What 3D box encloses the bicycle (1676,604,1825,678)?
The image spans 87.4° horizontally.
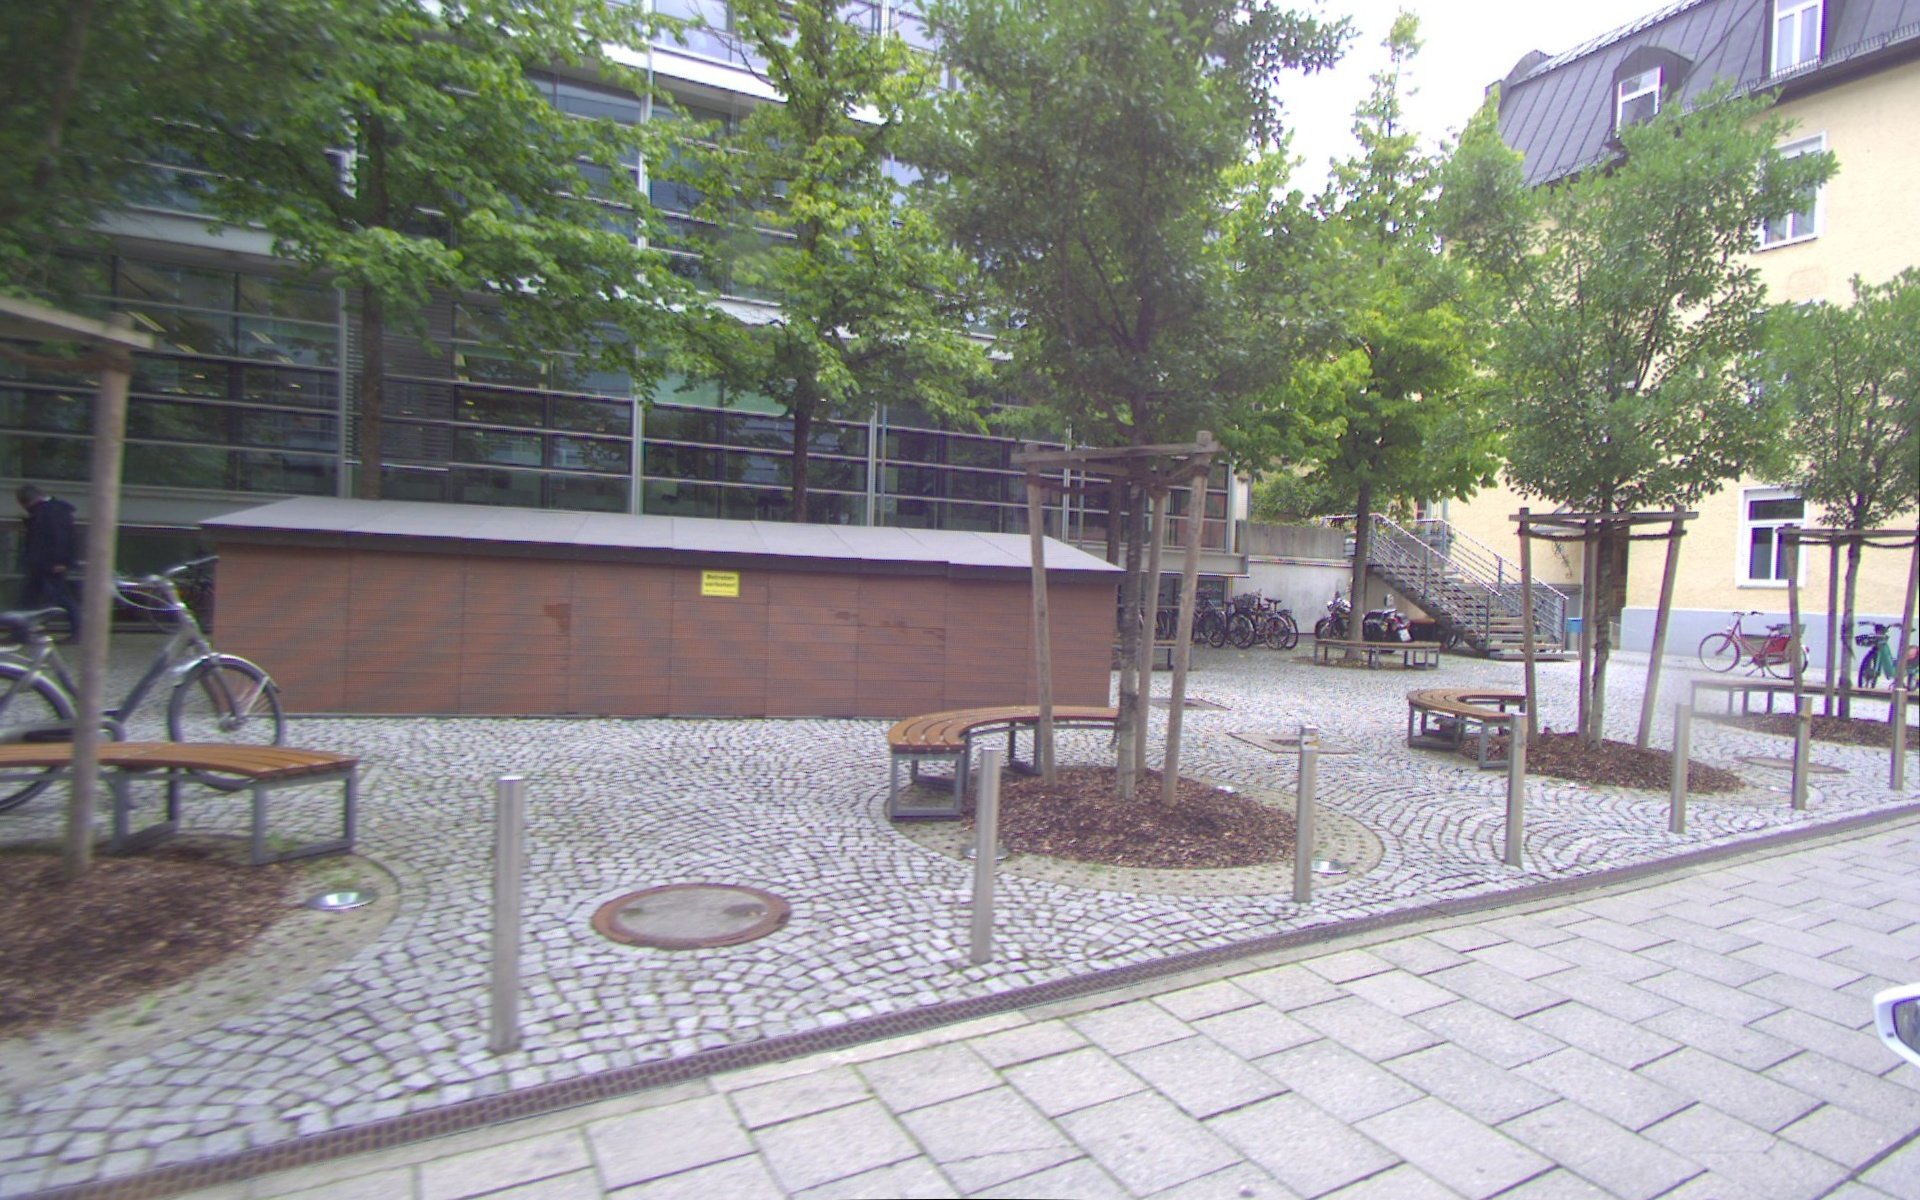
[{"bbox_3d":[14.344,0.720,18.290,0.737,1.188,1.968,2,2,-25],"label":"bicycle"}]

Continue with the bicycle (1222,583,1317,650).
[{"bbox_3d":[6.114,0.298,19.953,0.688,1.220,1.891,1,2,-25],"label":"bicycle"}]

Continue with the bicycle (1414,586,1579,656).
[{"bbox_3d":[11.471,0.414,21.666,0.757,1.268,3.209,1,3,-29],"label":"bicycle"}]

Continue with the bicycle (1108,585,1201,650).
[{"bbox_3d":[3.604,0.303,18.747,0.698,1.090,1.891,1,2,-25],"label":"bicycle"}]

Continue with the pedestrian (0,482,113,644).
[{"bbox_3d":[-10.465,-0.411,11.561,0.931,1.794,0.686,1,1,-27],"label":"pedestrian"}]

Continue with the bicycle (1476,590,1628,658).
[{"bbox_3d":[12.863,0.494,21.968,0.757,1.268,2.839,1,3,-29],"label":"bicycle"}]

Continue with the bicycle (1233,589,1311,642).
[{"bbox_3d":[6.694,0.339,21.523,1.771,1.106,0.414,1,1,-26],"label":"bicycle"}]

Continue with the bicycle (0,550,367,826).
[{"bbox_3d":[-4.221,0.389,5.066,0.703,1.225,1.988,5,2,42],"label":"bicycle"}]

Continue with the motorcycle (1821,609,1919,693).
[{"bbox_3d":[14.054,0.777,15.318,1.953,1.188,0.574,2,2,-25],"label":"motorcycle"}]

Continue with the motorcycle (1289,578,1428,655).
[{"bbox_3d":[7.988,0.290,20.312,0.957,1.431,2.657,1,1,-25],"label":"motorcycle"}]

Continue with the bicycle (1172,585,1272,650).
[{"bbox_3d":[5.046,0.317,19.457,0.815,1.141,1.891,1,2,-25],"label":"bicycle"}]

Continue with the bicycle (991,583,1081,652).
[{"bbox_3d":[1.287,0.281,17.508,0.695,1.073,1.891,1,2,-25],"label":"bicycle"}]

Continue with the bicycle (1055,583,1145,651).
[{"bbox_3d":[2.507,0.279,18.168,0.657,1.121,1.891,1,2,-25],"label":"bicycle"}]
